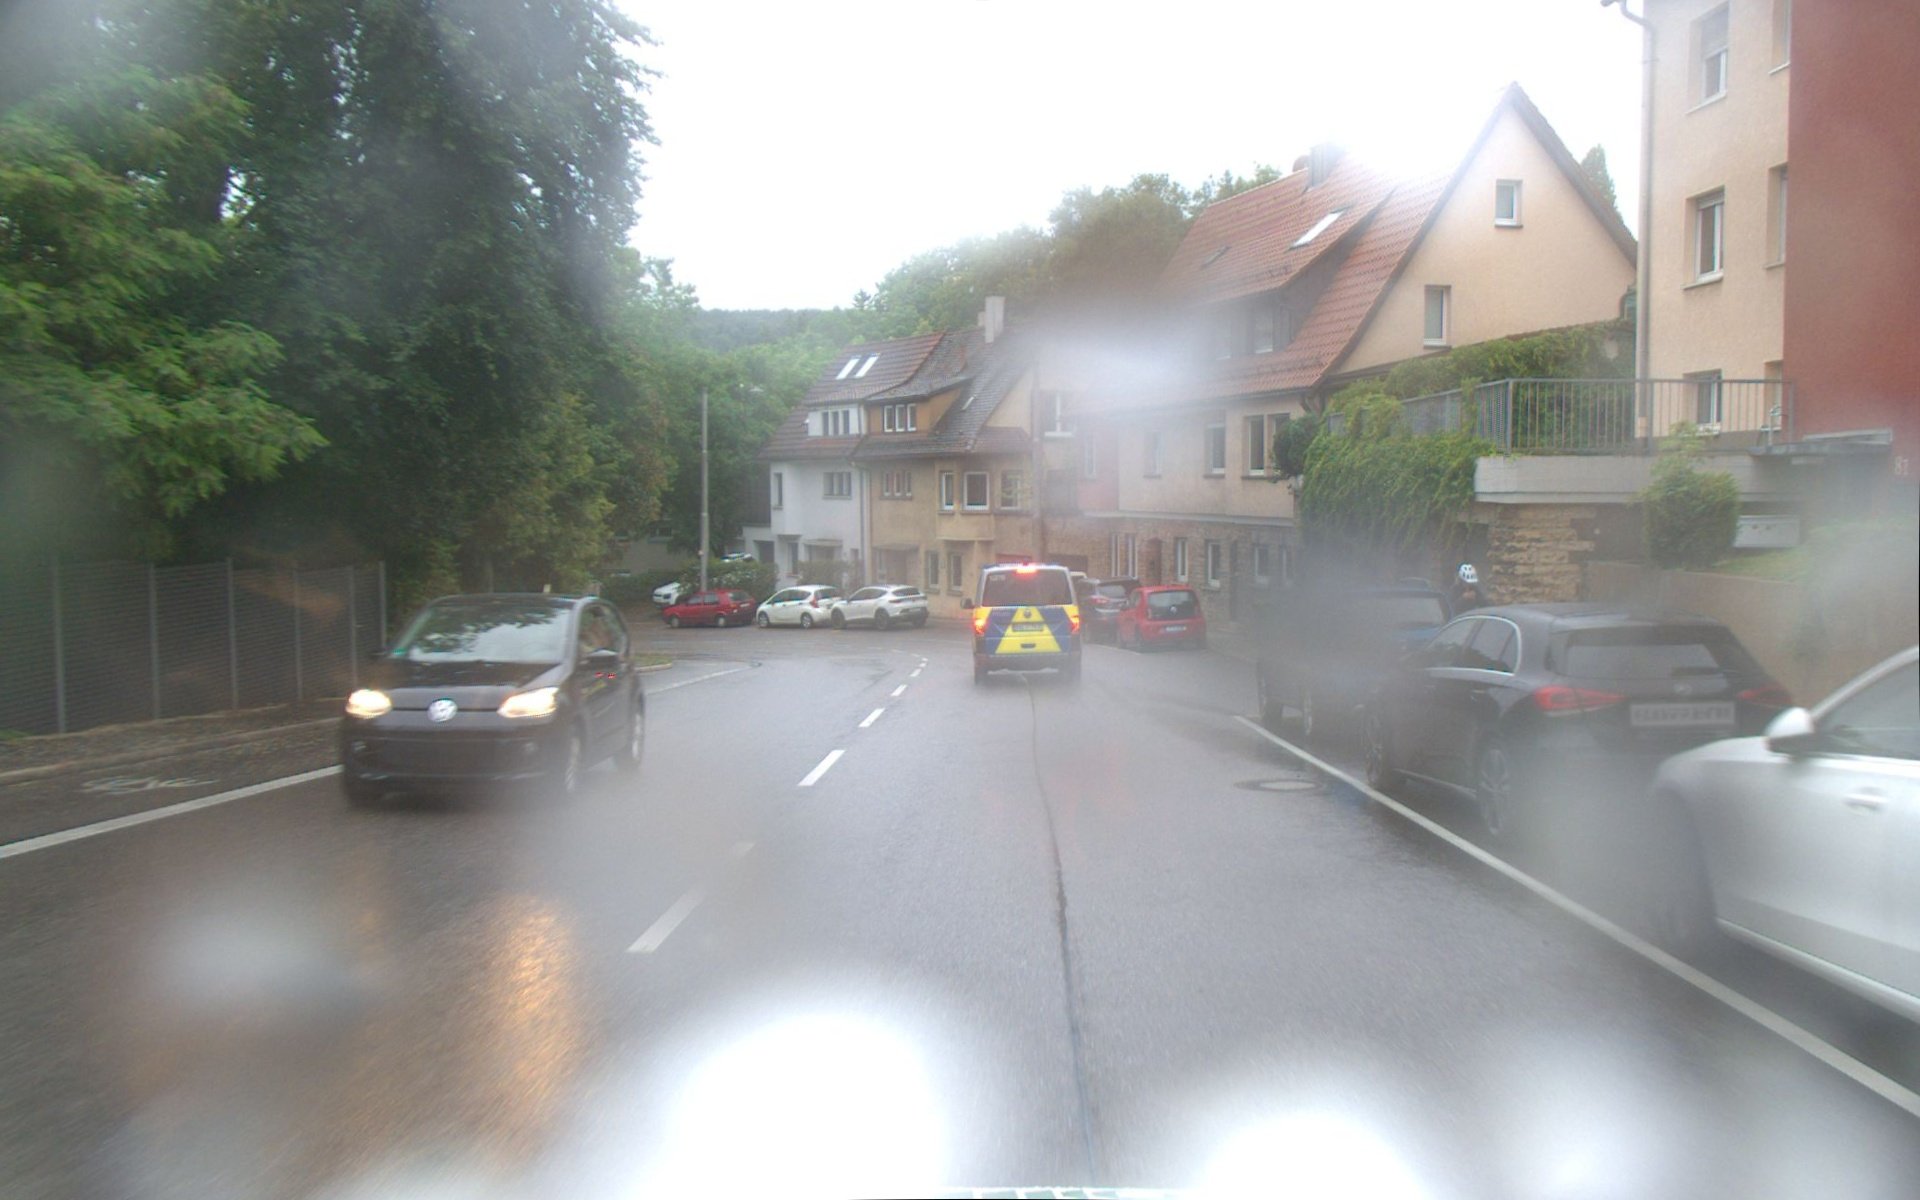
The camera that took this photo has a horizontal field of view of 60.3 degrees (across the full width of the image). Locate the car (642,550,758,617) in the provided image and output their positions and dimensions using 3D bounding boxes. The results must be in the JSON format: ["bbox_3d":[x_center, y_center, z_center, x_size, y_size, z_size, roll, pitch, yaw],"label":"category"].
[{"bbox_3d":[-11.285,-0.761,71.847,4.358,1.870,1.981,-16,10,-28],"label":"car"}]

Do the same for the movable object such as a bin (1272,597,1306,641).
[{"bbox_3d":[7.526,0.430,37.791,0.584,0.939,0.514,-5,2,-4],"label":"movable object such as a bin"}]

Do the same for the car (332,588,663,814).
[{"bbox_3d":[-3.412,0.662,12.891,1.616,1.445,3.801,1,1,-2],"label":"car"}]

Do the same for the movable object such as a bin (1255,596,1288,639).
[{"bbox_3d":[7.267,0.402,38.634,0.576,0.939,0.507,-5,2,-4],"label":"movable object such as a bin"}]

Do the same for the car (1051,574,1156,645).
[{"bbox_3d":[3.809,0.214,44.589,1.586,1.632,4.400,-5,2,-11],"label":"car"}]

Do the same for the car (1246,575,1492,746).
[{"bbox_3d":[4.331,0.553,18.158,1.698,1.621,4.255,-1,1,1],"label":"car"}]

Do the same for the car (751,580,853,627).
[{"bbox_3d":[-5.959,0.134,62.211,3.759,1.541,1.759,-2,3,45],"label":"car"}]

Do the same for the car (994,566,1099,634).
[{"bbox_3d":[2.535,-0.042,49.612,1.679,1.821,4.305,-5,2,-17],"label":"car"}]

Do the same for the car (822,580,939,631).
[{"bbox_3d":[-2.870,0.205,58.746,1.902,1.564,4.353,-6,3,-38],"label":"car"}]

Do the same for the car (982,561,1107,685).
[{"bbox_3d":[1.501,0.391,29.119,1.952,1.926,4.572,-2,-1,3],"label":"car"}]

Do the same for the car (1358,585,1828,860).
[{"bbox_3d":[4.060,0.671,11.395,1.654,1.480,4.255,-1,1,1],"label":"car"}]

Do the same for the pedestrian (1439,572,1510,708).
[{"bbox_3d":[6.459,0.489,20.780,0.612,1.679,0.609,0,0,-29],"label":"pedestrian"}]

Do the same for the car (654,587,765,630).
[{"bbox_3d":[-9.920,0.337,65.469,4.107,1.390,1.782,-3,3,33],"label":"car"}]

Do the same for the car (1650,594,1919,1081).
[{"bbox_3d":[3.885,0.755,5.123,1.770,1.480,4.255,-1,1,1],"label":"car"}]

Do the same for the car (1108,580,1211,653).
[{"bbox_3d":[4.712,0.352,39.496,1.585,1.460,3.576,-5,2,-7],"label":"car"}]
